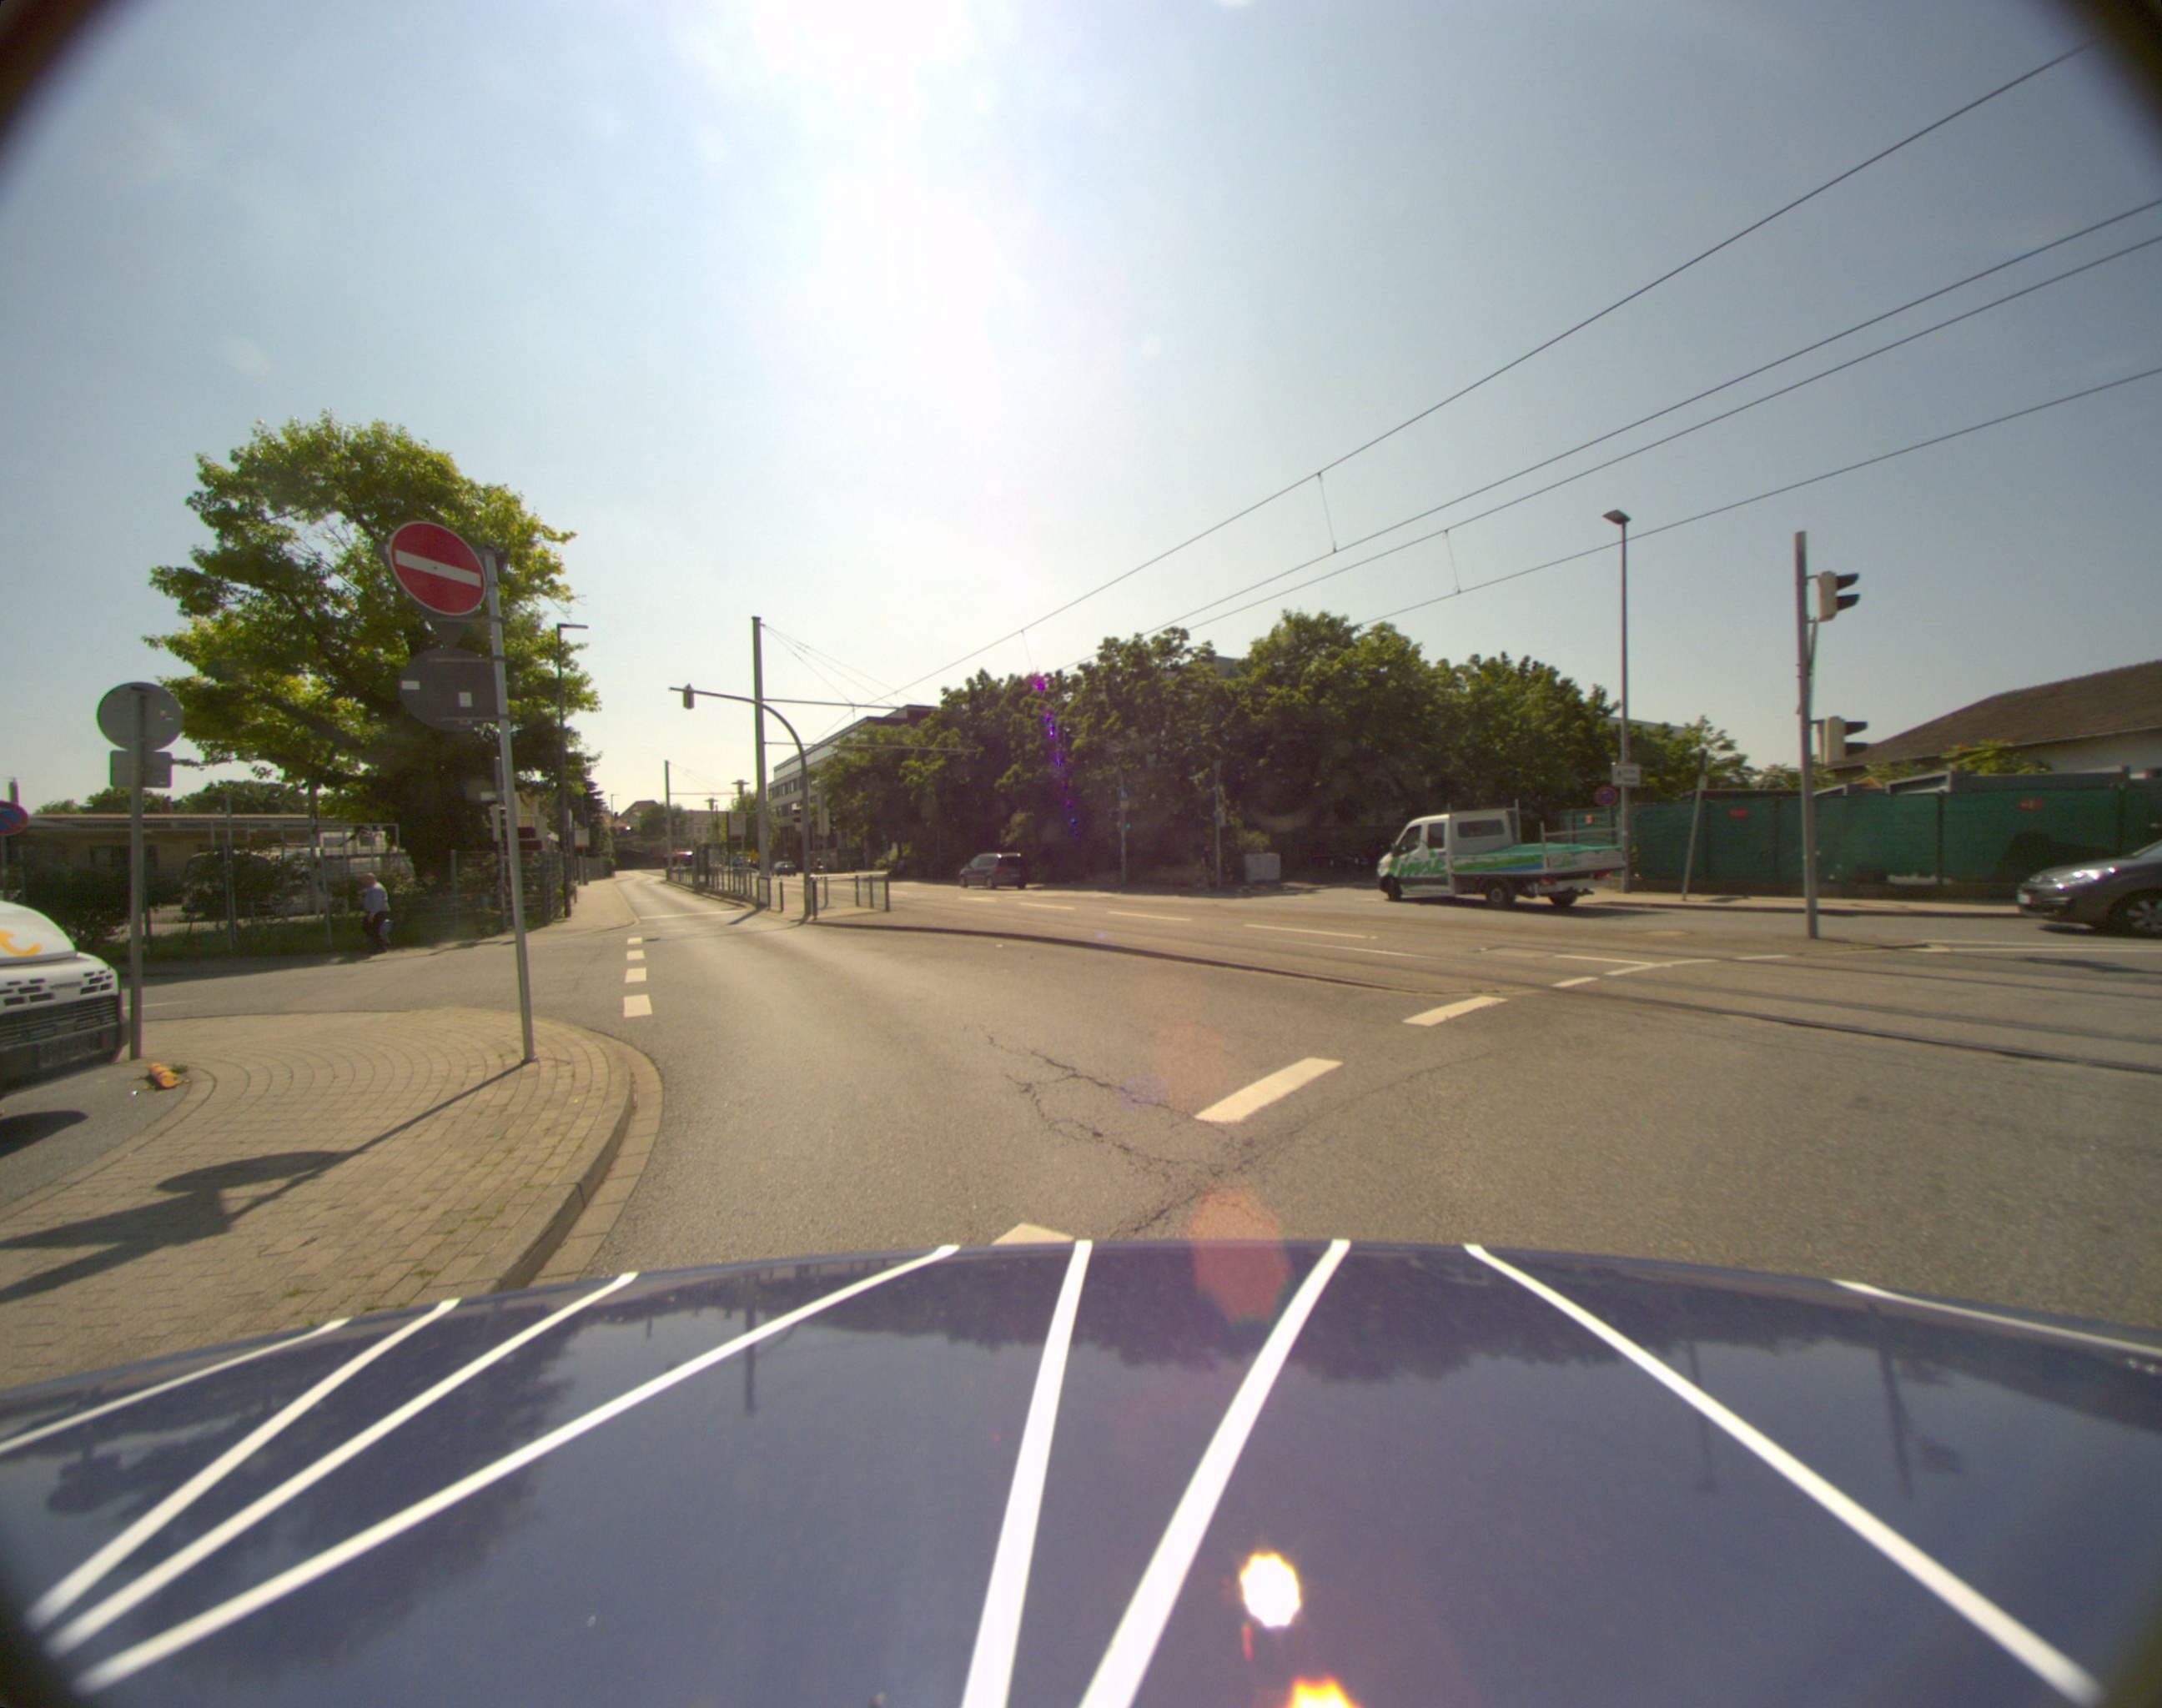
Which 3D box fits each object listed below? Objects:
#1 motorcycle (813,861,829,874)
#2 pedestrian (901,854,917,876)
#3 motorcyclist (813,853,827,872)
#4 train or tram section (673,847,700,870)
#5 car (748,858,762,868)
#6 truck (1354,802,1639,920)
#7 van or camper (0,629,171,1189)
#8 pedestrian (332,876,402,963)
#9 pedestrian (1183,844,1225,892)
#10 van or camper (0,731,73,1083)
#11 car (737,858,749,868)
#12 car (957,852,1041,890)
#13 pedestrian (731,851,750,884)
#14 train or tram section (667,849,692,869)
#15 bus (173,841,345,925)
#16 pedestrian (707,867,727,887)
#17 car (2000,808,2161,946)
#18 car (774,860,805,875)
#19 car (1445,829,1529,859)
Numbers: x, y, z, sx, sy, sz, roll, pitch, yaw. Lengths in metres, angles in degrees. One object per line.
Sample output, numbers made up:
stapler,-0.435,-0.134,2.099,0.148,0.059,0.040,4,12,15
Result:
motorcycle,-20.992,1.085,61.388,0.826,1.005,1.959,-2,1,-29
pedestrian,-12.345,0.766,54.476,0.875,1.518,0.844,-2,1,-33
motorcyclist,-21.221,0.676,61.725,0.839,1.467,0.960,-2,1,-29
train or tram section,-64.790,0.749,124.606,2.687,3.464,12.297,-1,0,-33
car,-53.456,1.453,124.614,2.003,1.613,3.992,-1,0,-25
truck,9.705,0.099,18.666,2.211,2.324,6.379,-3,1,-17
van or camper,-8.068,0.314,2.668,5.839,2.757,2.086,-1,0,-29
pedestrian,-14.677,1.323,15.629,0.813,1.689,0.889,-1,1,36
pedestrian,4.579,0.518,28.215,0.890,1.661,1.157,-6,3,-32
van or camper,-10.910,0.496,4.501,5.532,2.797,2.044,-2,-1,-28
car,-58.069,1.593,130.570,1.875,1.608,3.992,-1,0,-25
car,-3.805,0.748,34.833,1.937,1.574,4.180,2,0,-37
pedestrian,-18.215,0.711,40.646,0.727,1.715,0.942,-3,1,-32
train or tram section,-71.638,0.872,135.379,2.687,3.464,13.356,-1,0,-33
bus,-37.576,1.076,35.271,2.578,3.154,10.240,-2,3,-31
pedestrian,-20.796,1.301,43.375,0.947,1.093,0.724,-1,1,-33
car,15.710,0.259,9.963,4.397,1.808,1.994,-1,1,42
car,-28.781,1.355,74.943,1.916,1.433,4.584,0,-1,-32
car,23.145,-0.556,43.425,1.629,1.628,3.857,-2,1,-38
